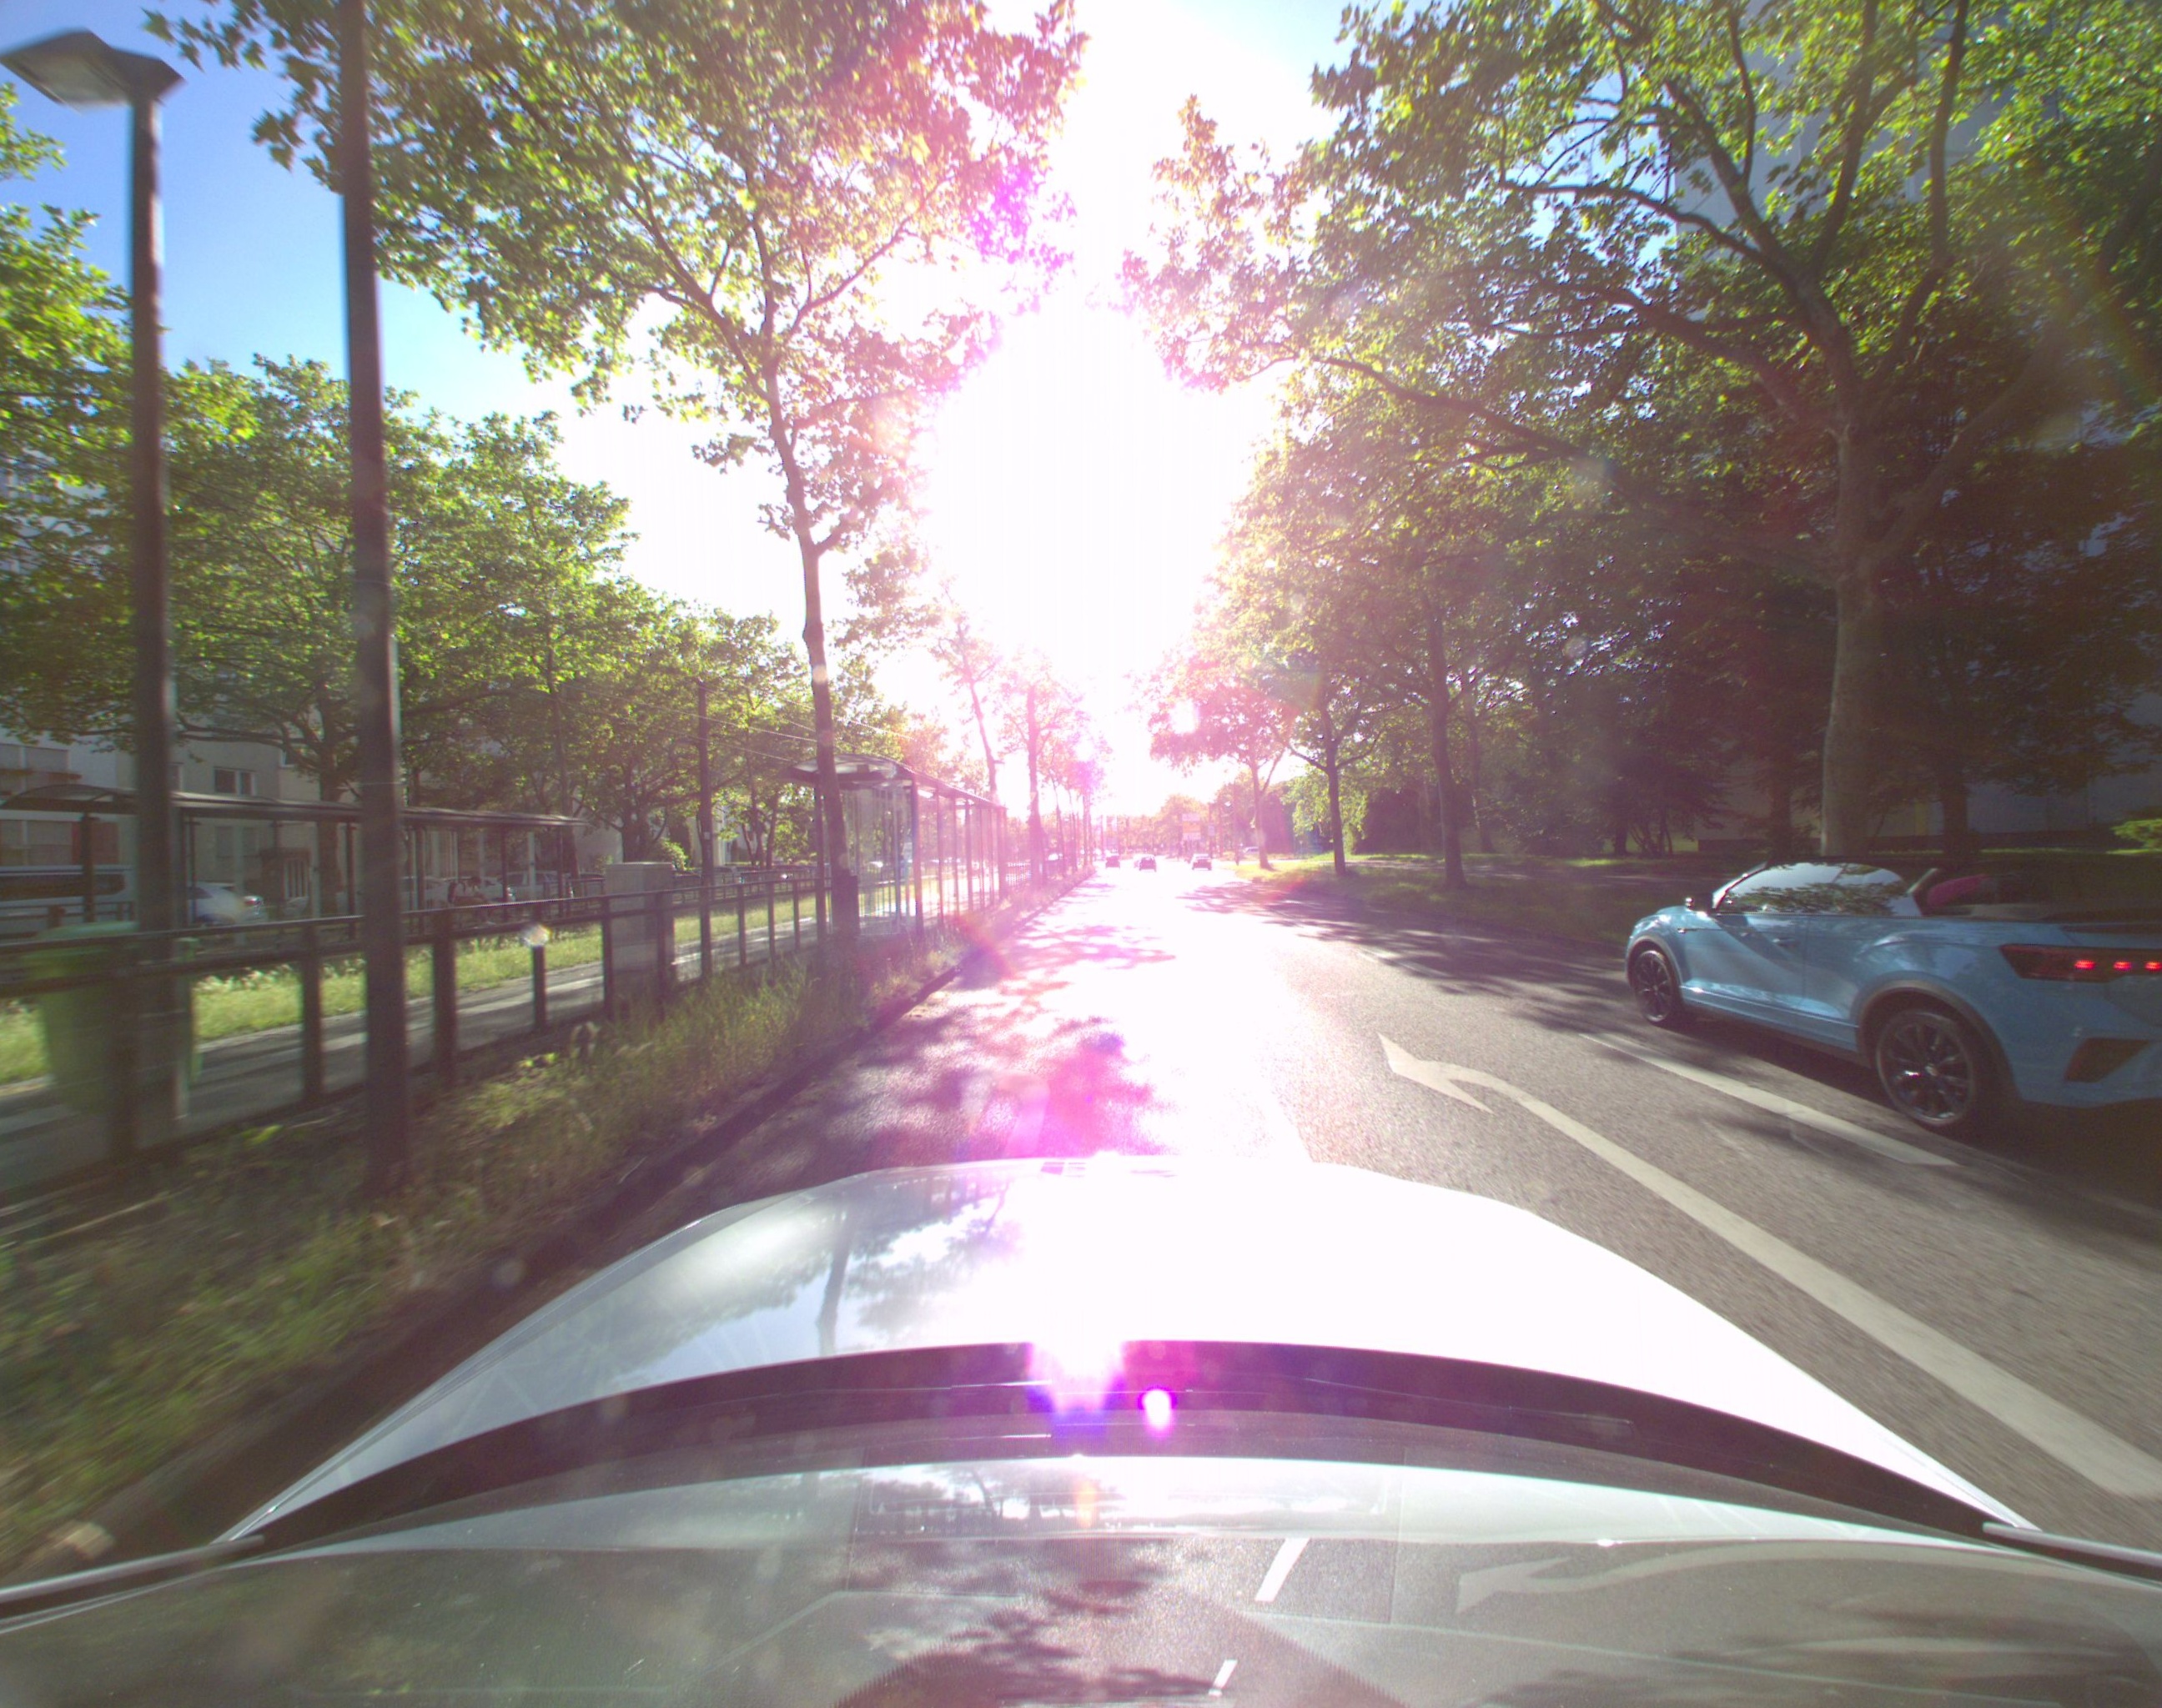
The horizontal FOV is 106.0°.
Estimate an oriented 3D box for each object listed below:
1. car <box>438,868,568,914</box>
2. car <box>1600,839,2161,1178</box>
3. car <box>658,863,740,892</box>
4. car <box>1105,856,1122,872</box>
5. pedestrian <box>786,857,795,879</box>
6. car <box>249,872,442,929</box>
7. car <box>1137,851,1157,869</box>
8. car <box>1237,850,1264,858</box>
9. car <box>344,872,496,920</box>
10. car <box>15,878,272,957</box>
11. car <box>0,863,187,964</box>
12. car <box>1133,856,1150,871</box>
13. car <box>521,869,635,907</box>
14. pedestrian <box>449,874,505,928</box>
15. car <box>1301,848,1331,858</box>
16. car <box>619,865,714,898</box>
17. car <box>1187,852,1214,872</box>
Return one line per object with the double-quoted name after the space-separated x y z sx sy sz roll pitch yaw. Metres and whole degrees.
-23.321 1.429 32.966 1.556 1.568 4.084 1 2 43 "car"
5.503 0.662 5.542 1.766 1.483 4.109 -1 0 8 "car"
-22.317 1.342 47.647 4.014 1.544 1.627 -1 1 -40 "car"
3.391 1.064 86.435 1.704 1.603 3.350 -1 0 1 "car"
-24.707 1.195 69.257 0.474 1.792 0.718 -1 -1 1 "pedestrian"
-23.914 1.444 26.603 1.876 1.504 4.527 0 1 43 "car"
6.059 0.533 74.776 1.633 1.494 3.504 -1 1 1 "car"
28.192 -0.042 135.433 3.949 1.338 1.739 -1 0 28 "car"
-23.870 1.462 29.505 1.556 1.432 4.084 0 1 43 "car"
-23.558 1.514 20.730 4.082 1.610 1.669 -1 1 -42 "car"
-23.240 1.278 17.903 4.520 2.063 1.879 -1 1 -37 "car"
6.441 1.021 86.980 1.671 1.475 4.134 -1 0 3 "car"
-22.630 1.503 36.758 1.556 1.473 4.084 0 1 43 "car"
-13.716 1.054 18.514 0.692 1.127 0.662 -5 -1 3 "pedestrian"
37.518 -0.166 130.283 4.311 1.559 1.883 -1 -1 27 "car"
-22.196 1.426 43.709 1.626 1.544 4.201 0 1 43 "car"
11.094 0.760 76.013 1.974 1.792 4.616 -1 0 2 "car"
